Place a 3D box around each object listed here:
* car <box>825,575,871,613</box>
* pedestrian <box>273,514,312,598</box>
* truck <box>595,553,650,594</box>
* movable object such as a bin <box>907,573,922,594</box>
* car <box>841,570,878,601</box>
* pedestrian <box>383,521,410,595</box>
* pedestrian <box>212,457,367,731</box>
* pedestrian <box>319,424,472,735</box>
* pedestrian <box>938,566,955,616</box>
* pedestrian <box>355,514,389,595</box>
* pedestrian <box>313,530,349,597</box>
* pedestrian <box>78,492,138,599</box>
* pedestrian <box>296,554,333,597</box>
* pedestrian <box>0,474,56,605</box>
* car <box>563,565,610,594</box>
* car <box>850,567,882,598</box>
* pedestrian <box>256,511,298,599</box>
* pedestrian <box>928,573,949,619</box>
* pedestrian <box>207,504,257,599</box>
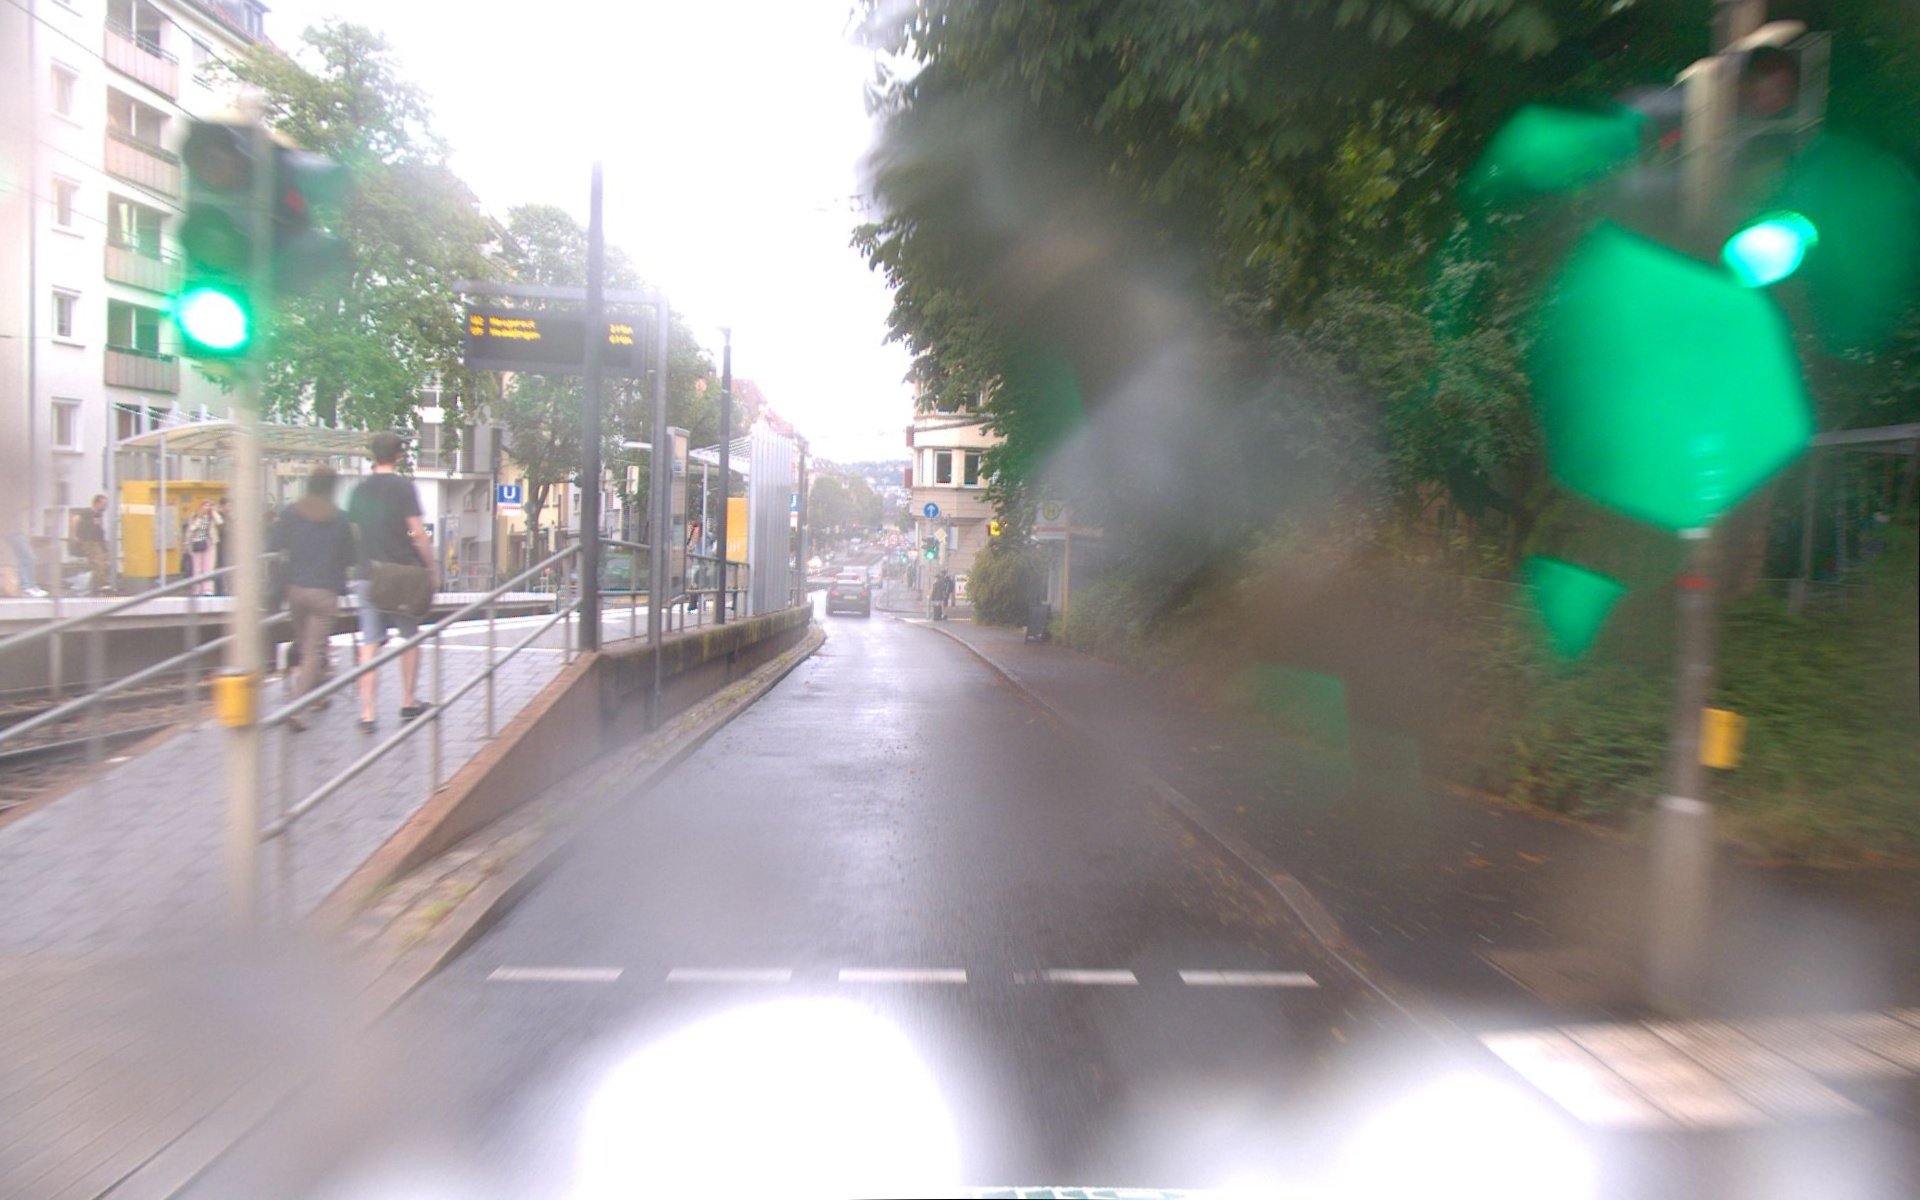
[{"bbox_3d":[-4.621,-0.263,68.711,1.815,1.499,3.998,1,1,-3],"label":"car"},{"bbox_3d":[-13.516,-0.882,33.497,0.539,1.695,0.614,0,0,-2],"label":"pedestrian"},{"bbox_3d":[-21.021,-1.621,103.323,2.009,2.434,6.322,1,0,1],"label":"truck"},{"bbox_3d":[-3.678,-1.312,133.733,1.145,1.684,1.308,0,1,-6],"label":"movable object such as a bin"},{"bbox_3d":[-5.199,-0.759,85.237,1.815,1.499,3.997,2,0,-4],"label":"car"},{"bbox_3d":[-13.709,-1.013,40.277,0.472,1.772,0.563,0,0,-2],"label":"pedestrian"},{"bbox_3d":[-4.105,-0.054,10.181,0.637,1.587,0.684,1,8,-2],"label":"pedestrian"},{"bbox_3d":[-3.477,-0.154,10.262,0.637,1.813,0.848,1,8,-2],"label":"pedestrian"},{"bbox_3d":[-0.503,-0.340,62.506,0.543,1.845,0.650,1,0,-5],"label":"pedestrian"},{"bbox_3d":[-13.094,-1.006,36.826,0.539,1.772,0.614,0,0,-2],"label":"pedestrian"},{"bbox_3d":[-13.519,-0.782,35.554,0.539,1.438,0.614,0,0,-2],"label":"pedestrian"},{"bbox_3d":[-13.681,-0.863,26.584,0.582,1.695,0.762,0,0,-2],"label":"pedestrian"},{"bbox_3d":[-13.517,-0.503,34.655,0.539,0.887,0.614,0,0,-2],"label":"pedestrian"},{"bbox_3d":[-13.596,-0.869,24.050,0.505,1.870,0.762,0,0,-2],"label":"pedestrian"},{"bbox_3d":[-21.019,-1.158,93.162,1.691,1.541,4.495,1,1,-1],"label":"car"},{"bbox_3d":[-5.940,-1.101,104.223,1.910,1.824,4.141,2,0,-4],"label":"car"},{"bbox_3d":[-13.370,-0.879,32.376,0.582,1.695,0.591,0,0,-3],"label":"pedestrian"},{"bbox_3d":[-0.805,-0.152,61.864,0.681,1.724,0.555,1,0,-5],"label":"pedestrian"},{"bbox_3d":[-13.221,-0.872,30.032,0.582,1.695,0.762,0,0,-2],"label":"pedestrian"}]
